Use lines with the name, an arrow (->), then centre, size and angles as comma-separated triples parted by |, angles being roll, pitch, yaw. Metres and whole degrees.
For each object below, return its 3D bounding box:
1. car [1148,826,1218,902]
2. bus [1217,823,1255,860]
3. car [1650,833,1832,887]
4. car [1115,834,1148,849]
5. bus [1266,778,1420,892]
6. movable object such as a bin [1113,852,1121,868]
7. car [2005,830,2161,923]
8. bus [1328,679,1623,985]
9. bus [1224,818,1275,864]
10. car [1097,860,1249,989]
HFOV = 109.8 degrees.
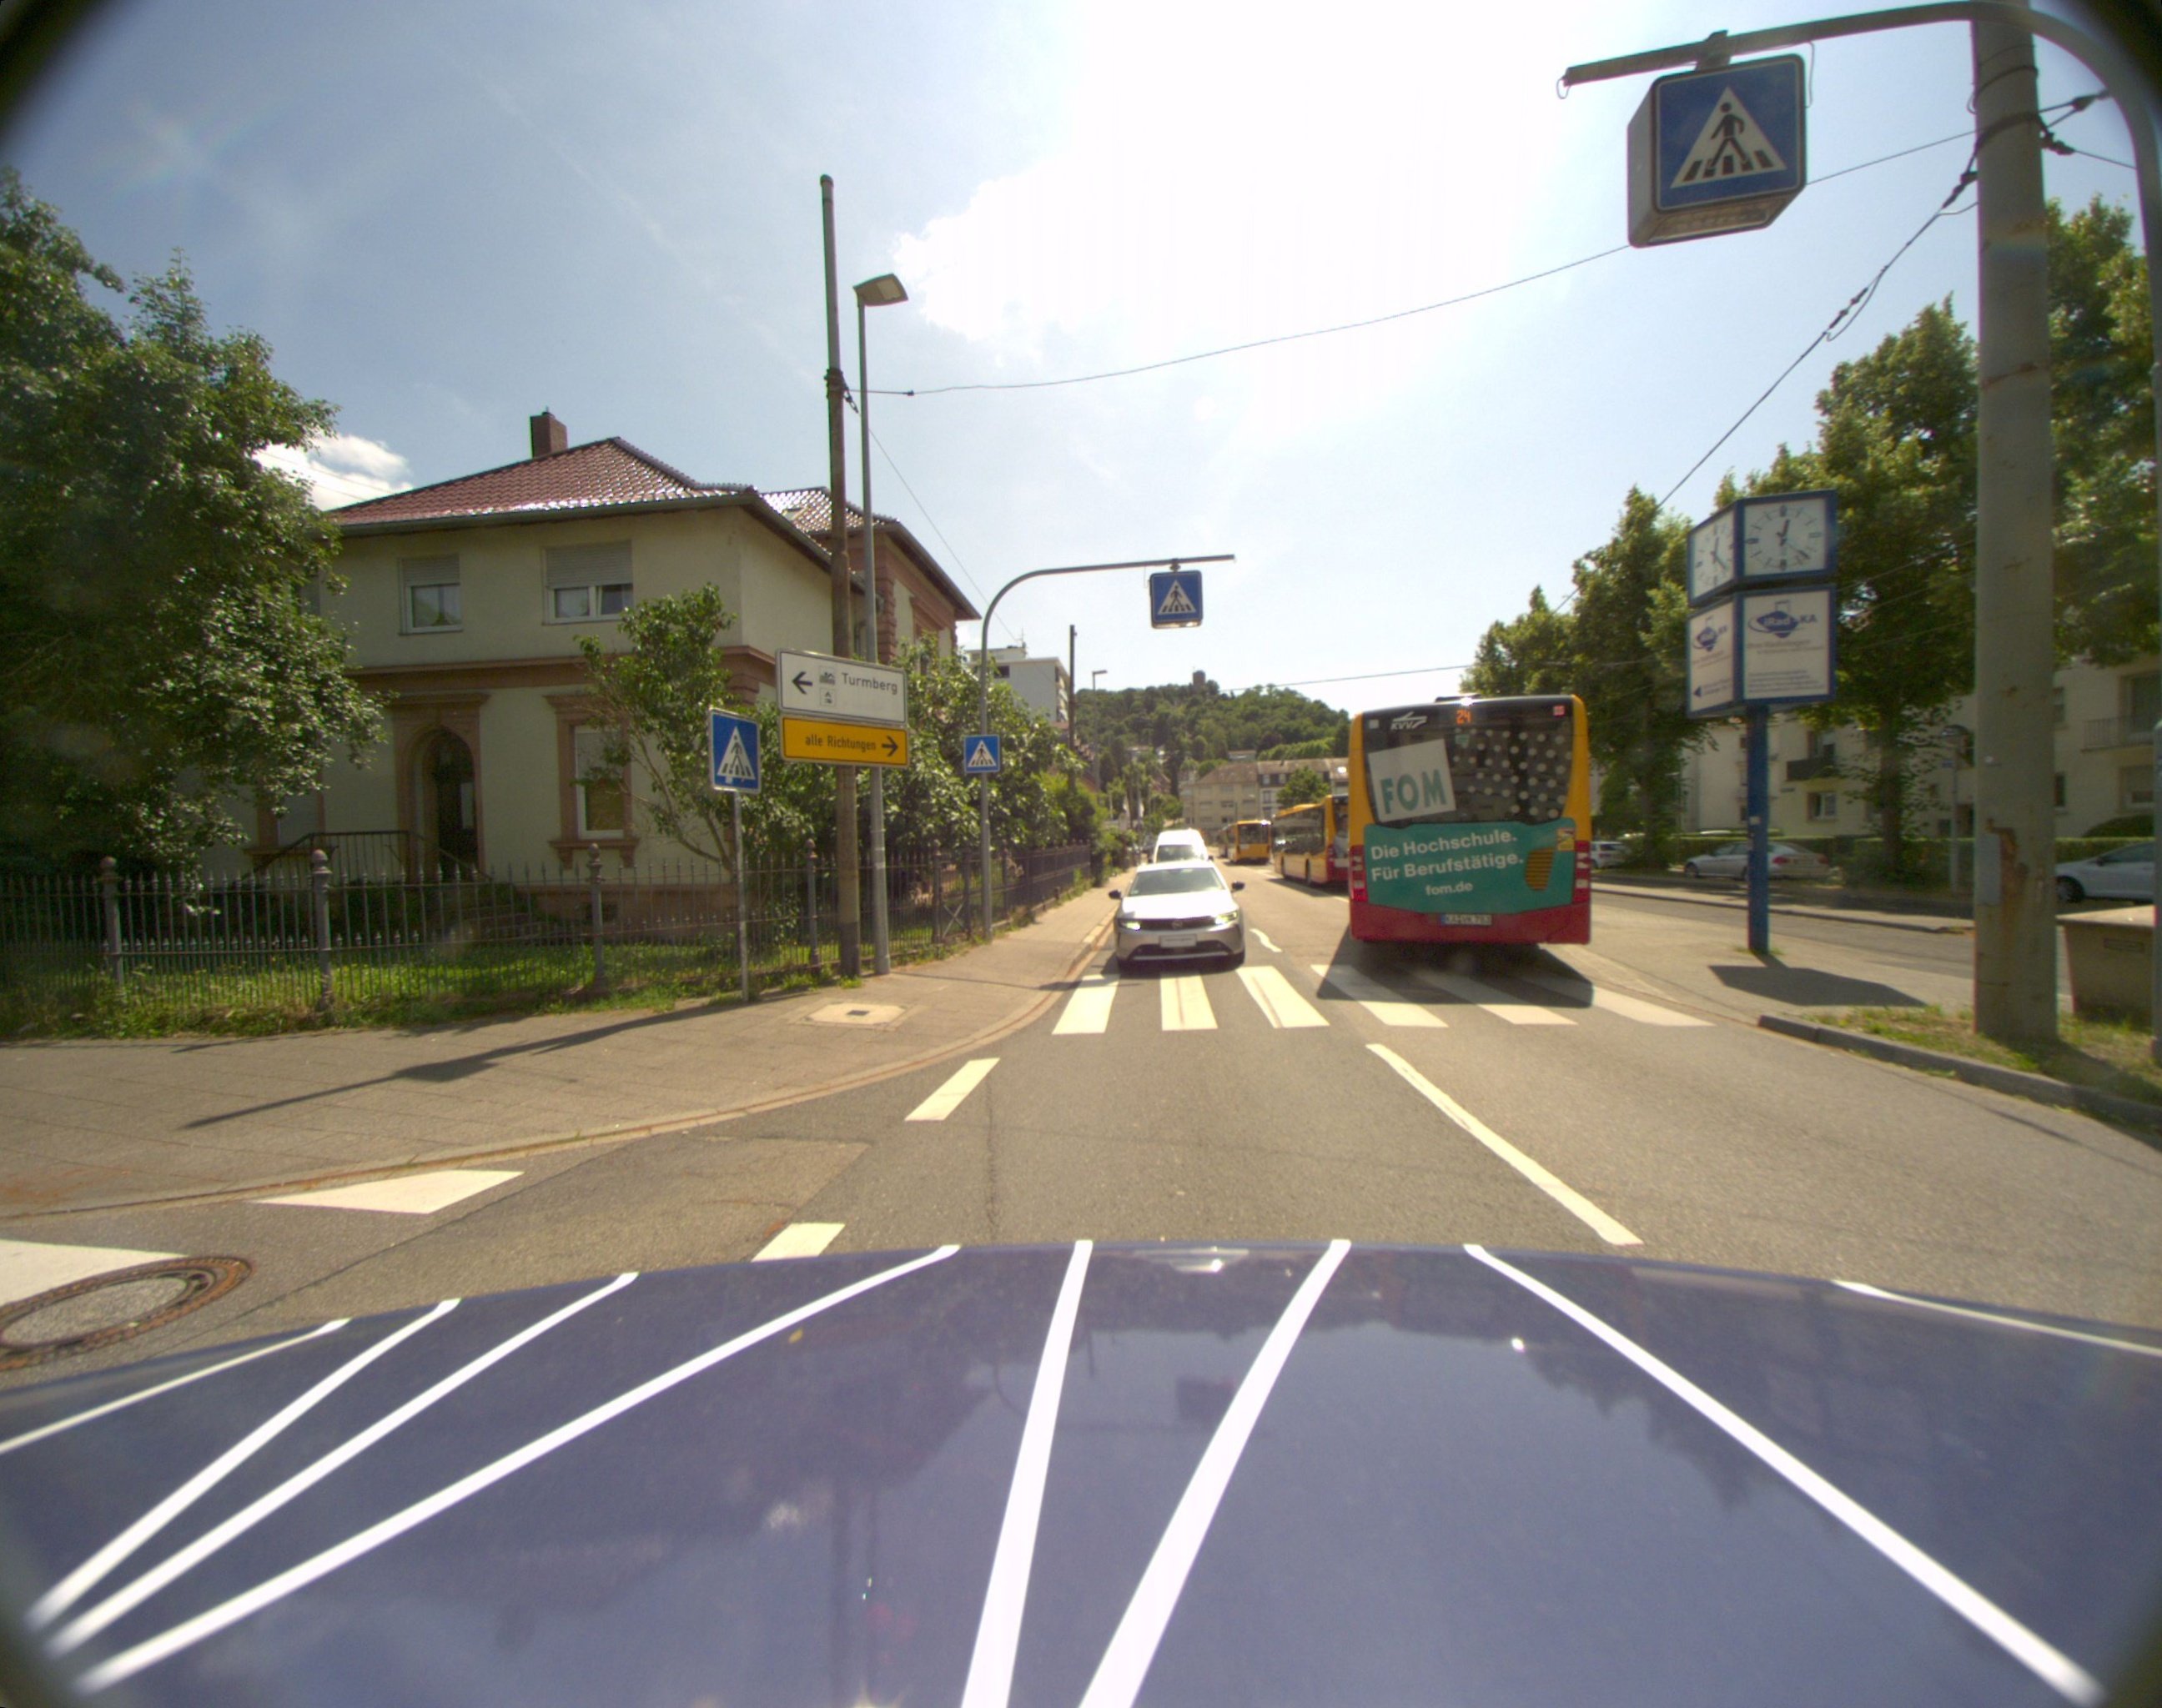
car -> 3.467, 0.211, 26.710 | 1.998, 2.259, 5.444 | -3, 2, 5
bus -> 16.361, -1.304, 80.950 | 2.914, 3.407, 12.044 | -3, 0, 7
car -> 22.537, 0.101, 26.360 | 1.711, 1.449, 6.042 | -3, 2, 8
car -> 6.749, -1.663, 102.039 | 1.826, 1.780, 4.278 | -6, 3, -43
bus -> 9.292, -0.719, 28.739 | 2.913, 3.229, 12.121 | -3, 1, 7
movable object such as a bin -> 2.218, 0.362, 46.495 | 0.407, 0.902, 0.729 | 2, 3, 4
car -> 21.097, 0.406, 14.688 | 1.754, 1.609, 3.999 | -3, 2, 4
bus -> 6.374, -0.282, 14.181 | 2.783, 3.190, 12.322 | -3, 0, 20
bus -> 13.510, -1.236, 61.723 | 2.903, 3.229, 12.198 | -3, 2, 8
car -> 1.478, 0.911, 11.602 | 1.817, 1.371, 4.393 | -2, 2, 9
